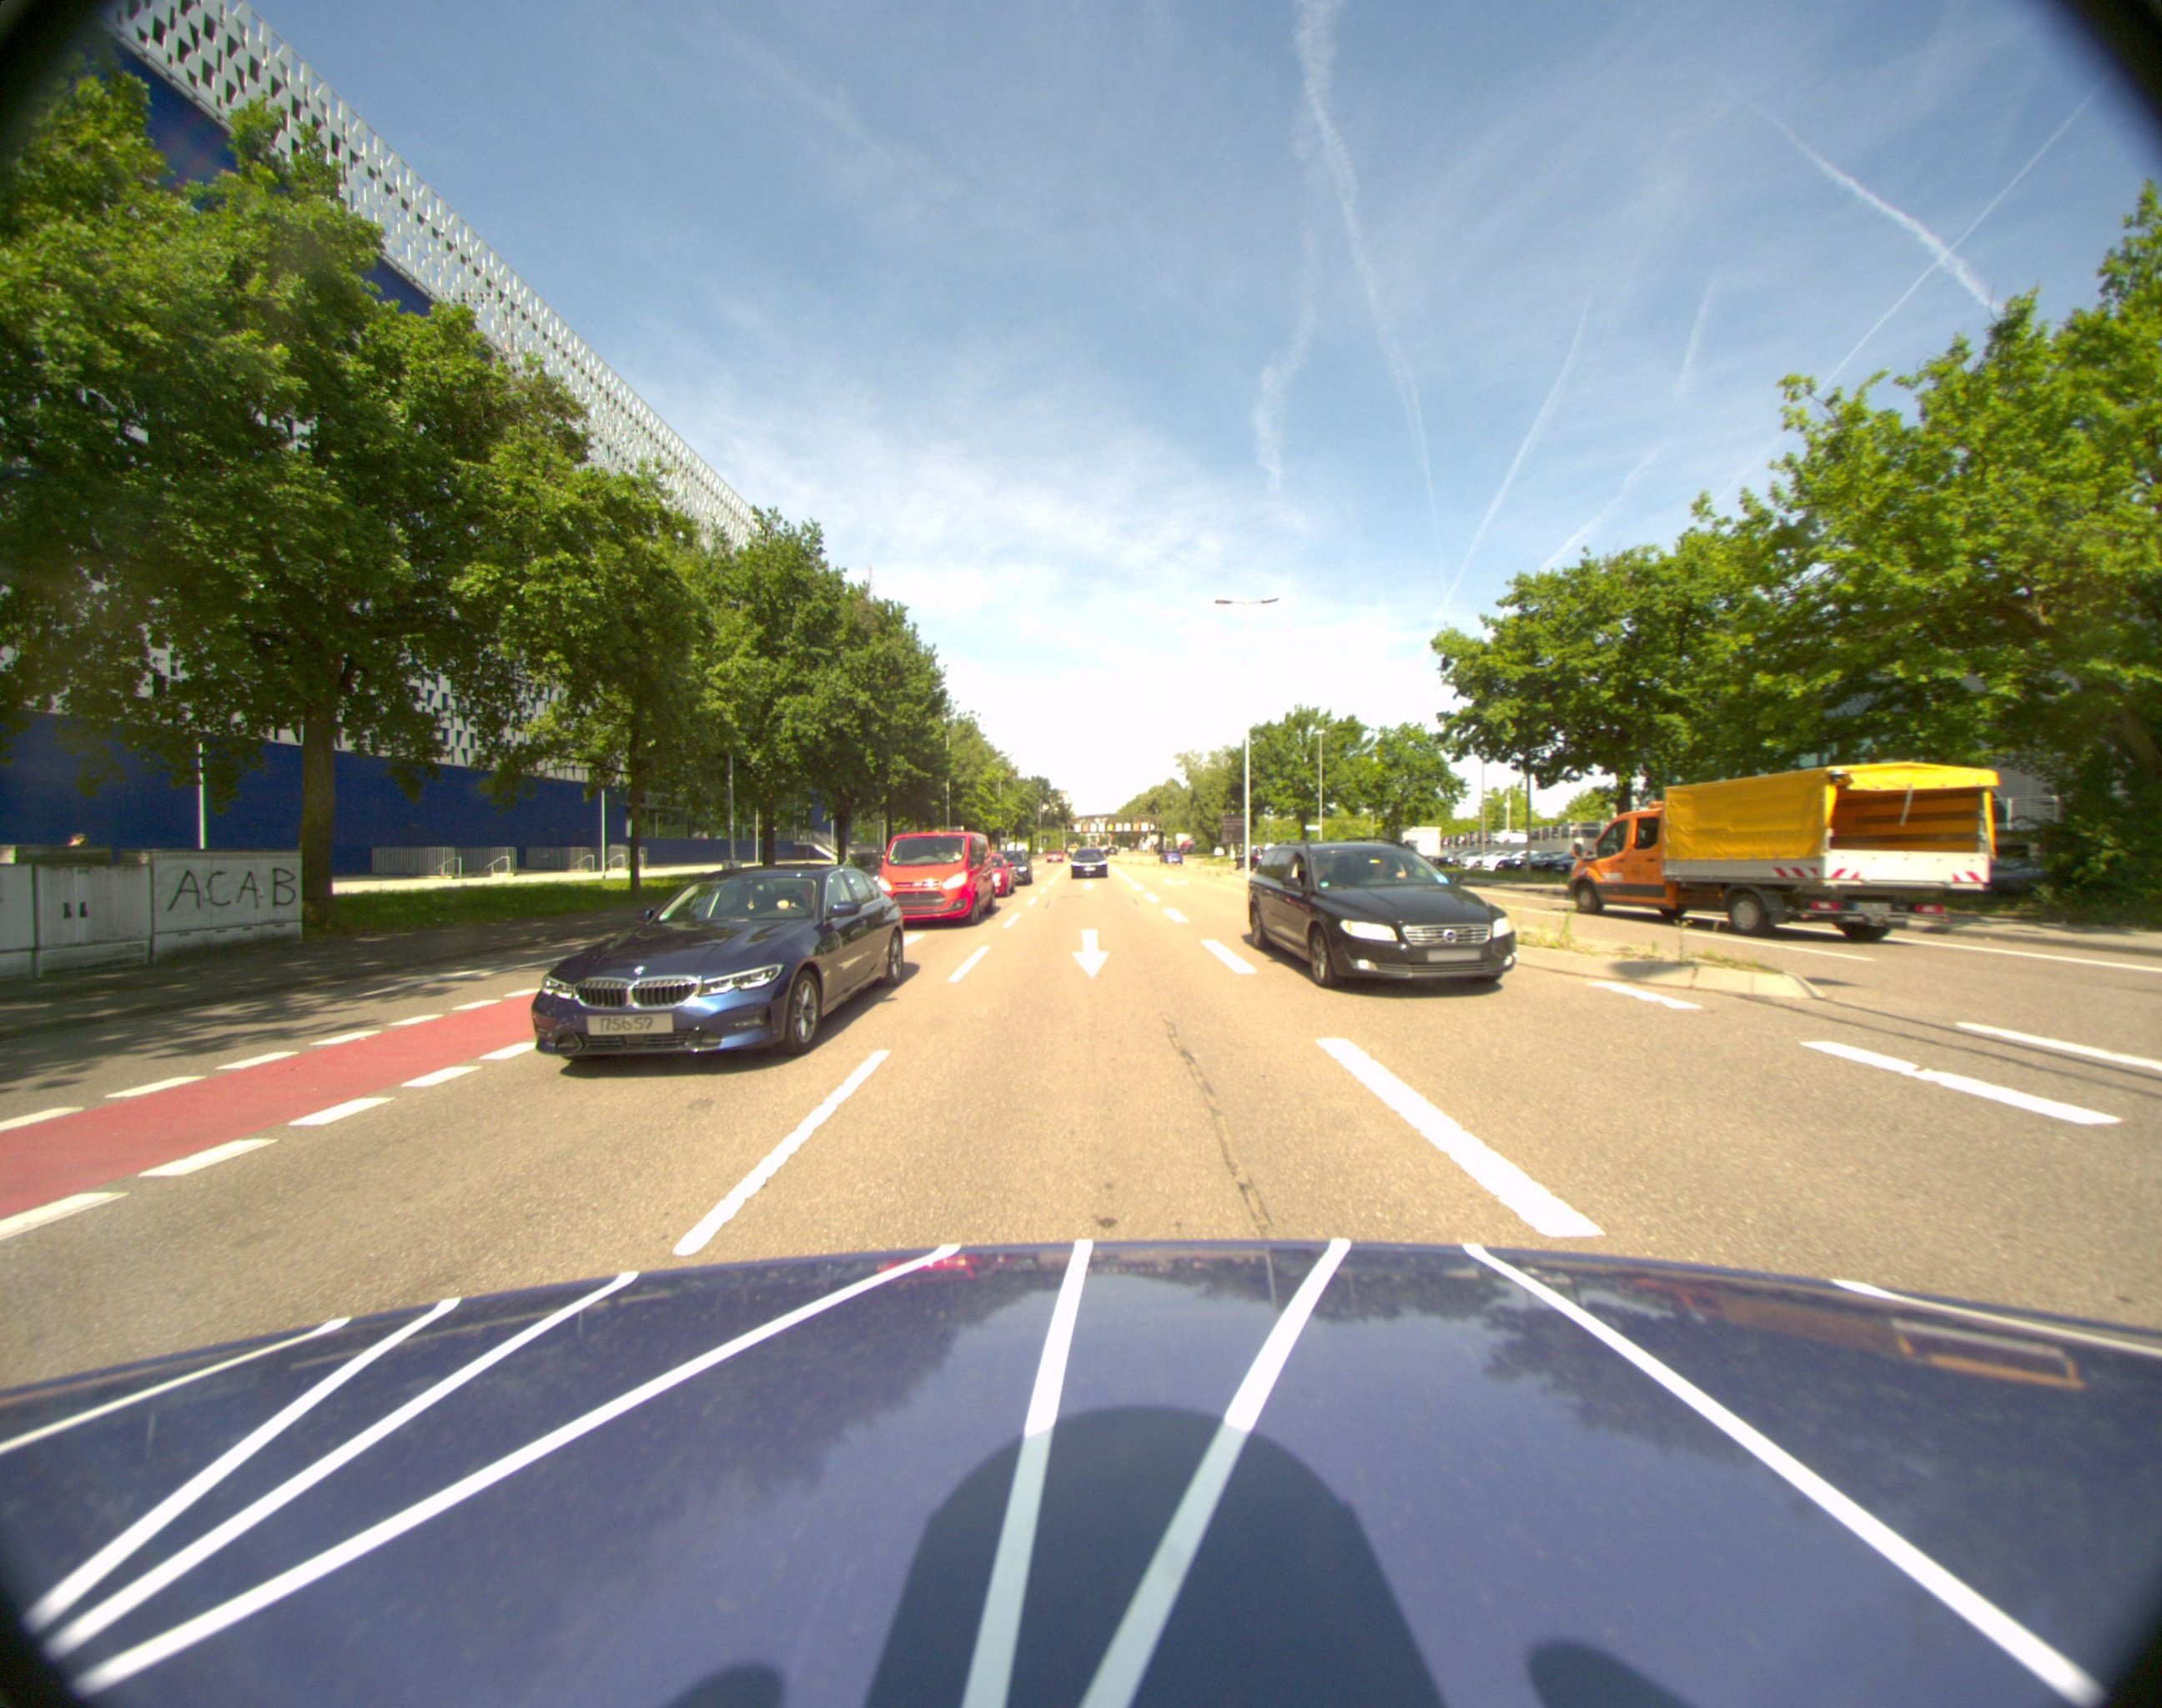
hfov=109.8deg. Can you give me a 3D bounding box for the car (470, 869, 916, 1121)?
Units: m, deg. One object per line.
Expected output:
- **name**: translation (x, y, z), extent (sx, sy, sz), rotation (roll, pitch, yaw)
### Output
- **car**: translation (-2.973, 0.952, 7.131), extent (1.800, 1.421, 4.537), rotation (-2, 1, 0)

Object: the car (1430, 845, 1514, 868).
- **car**: translation (24.045, 0.137, 46.810), extent (4.196, 1.239, 1.690), rotation (3, 1, 2)

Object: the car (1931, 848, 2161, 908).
- **car**: translation (23.484, 0.560, 18.153), extent (4.196, 1.220, 1.797), rotation (3, 1, 2)

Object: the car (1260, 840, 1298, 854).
- **car**: translation (24.211, -0.821, 93.181), extent (4.196, 1.491, 1.690), rotation (3, 1, 2)

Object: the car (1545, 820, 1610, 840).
- **car**: translation (40.849, -1.971, 62.580), extent (4.196, 1.491, 1.690), rotation (3, 1, 2)

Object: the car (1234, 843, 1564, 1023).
- **car**: translation (3.268, 0.665, 9.067), extent (1.882, 1.513, 4.868), rotation (-2, 1, 0)

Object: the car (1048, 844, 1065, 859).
- **car**: translation (-2.663, -0.332, 83.457), extent (1.649, 1.531, 3.999), rotation (-3, 1, -1)

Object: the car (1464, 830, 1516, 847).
- **car**: translation (40.598, -1.567, 75.505), extent (4.196, 1.491, 1.690), rotation (3, 1, 2)

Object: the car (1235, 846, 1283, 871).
- **car**: translation (11.310, 0.239, 48.550), extent (1.851, 1.451, 4.663), rotation (2, 1, -1)

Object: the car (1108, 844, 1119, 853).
- **car**: translation (5.683, -0.979, 131.754), extent (1.866, 1.503, 4.000), rotation (0, 1, 1)

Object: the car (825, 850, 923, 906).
- **car**: translation (-7.035, 0.746, 26.307), extent (1.998, 1.646, 4.390), rotation (-2, 1, 2)

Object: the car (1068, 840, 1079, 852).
- **car**: translation (-1.336, -1.544, 141.926), extent (1.998, 2.002, 3.999), rotation (-3, 2, 0)

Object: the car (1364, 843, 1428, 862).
- **car**: translation (24.411, -0.129, 58.910), extent (4.196, 1.315, 1.690), rotation (3, 1, 2)

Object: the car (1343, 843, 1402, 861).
- **car**: translation (24.408, -0.192, 63.670), extent (4.196, 1.315, 1.690), rotation (3, 1, 2)

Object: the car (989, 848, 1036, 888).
- **car**: translation (-2.922, 0.553, 33.258), extent (1.649, 1.531, 3.999), rotation (-3, 1, -1)

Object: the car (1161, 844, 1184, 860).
- **car**: translation (8.948, -0.208, 74.662), extent (1.732, 1.430, 3.869), rotation (2, 1, 0)

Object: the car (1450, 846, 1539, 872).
- **car**: translation (24.007, 0.287, 44.214), extent (4.196, 1.317, 1.690), rotation (3, 1, 2)

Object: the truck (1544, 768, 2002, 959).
- **truck**: translation (11.657, 0.095, 13.925), extent (2.381, 2.610, 6.673), rotation (2, 1, 2)

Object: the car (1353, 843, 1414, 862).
- **car**: translation (24.450, -0.151, 61.455), extent (4.196, 1.315, 1.690), rotation (3, 1, 2)

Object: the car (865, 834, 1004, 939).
- **car**: translation (-2.977, 0.575, 16.547), extent (2.014, 1.896, 4.809), rotation (-2, 1, 0)

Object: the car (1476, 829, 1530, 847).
- **car**: translation (40.585, -1.545, 73.171), extent (4.196, 1.491, 1.690), rotation (3, 1, 2)

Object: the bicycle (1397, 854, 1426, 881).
- **bicycle**: translation (14.651, 0.584, 33.714), extent (0.572, 1.143, 1.925), rotation (0, 1, 4)

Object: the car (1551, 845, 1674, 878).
- **car**: translation (23.555, 0.306, 33.791), extent (4.196, 1.247, 1.690), rotation (3, 1, 2)

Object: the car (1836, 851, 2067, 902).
- **car**: translation (23.579, 0.578, 20.701), extent (4.196, 1.128, 1.695), rotation (3, 1, 2)

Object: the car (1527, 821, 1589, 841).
- **car**: translation (40.976, -1.984, 65.312), extent (4.196, 1.491, 1.690), rotation (3, 1, 2)

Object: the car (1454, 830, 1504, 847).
- **car**: translation (40.706, -1.562, 77.794), extent (4.196, 1.491, 1.690), rotation (3, 1, 2)

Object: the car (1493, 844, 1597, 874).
- **car**: translation (23.824, 0.231, 39.120), extent (4.196, 1.292, 1.690), rotation (3, 1, 2)

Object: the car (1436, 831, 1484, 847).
- **car**: translation (40.575, -1.588, 81.366), extent (4.196, 1.491, 1.690), rotation (3, 1, 2)

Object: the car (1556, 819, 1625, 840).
- **car**: translation (40.157, -1.942, 59.961), extent (4.196, 1.397, 1.690), rotation (3, 1, 2)

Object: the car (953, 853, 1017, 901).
- **car**: translation (-3.147, 0.703, 25.578), extent (1.692, 1.414, 3.915), rotation (-1, 1, -1)

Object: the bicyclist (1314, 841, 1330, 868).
- **bicyclist**: translation (14.589, 0.042, 46.003), extent (0.578, 1.587, 0.910), rotation (1, 1, -3)

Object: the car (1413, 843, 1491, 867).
- **car**: translation (24.021, 0.060, 49.278), extent (4.196, 1.315, 1.690), rotation (3, 1, 2)

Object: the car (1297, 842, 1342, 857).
- **car**: translation (25.081, -0.471, 79.903), extent (4.196, 1.315, 1.690), rotation (3, 1, 2)

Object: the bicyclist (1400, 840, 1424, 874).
- **bicyclist**: translation (14.642, 0.119, 33.627), extent (0.571, 1.474, 1.143), rotation (0, 1, 3)

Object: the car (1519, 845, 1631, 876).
- **car**: translation (23.667, 0.285, 36.486), extent (4.196, 1.252, 1.690), rotation (3, 1, 2)

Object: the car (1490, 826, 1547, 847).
- **car**: translation (40.556, -1.650, 70.510), extent (4.196, 1.722, 1.690), rotation (3, 1, 2)

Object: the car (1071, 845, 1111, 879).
- **car**: translation (0.488, 0.369, 39.110), extent (1.847, 1.531, 3.999), rotation (-3, 1, 0)

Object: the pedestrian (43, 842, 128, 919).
- **pedestrian**: translation (-20.503, 0.529, 15.672), extent (0.680, 1.537, 0.780), rotation (0, 1, 1)

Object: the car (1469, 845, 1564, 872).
- **car**: translation (23.905, 0.231, 41.808), extent (4.196, 1.248, 1.690), rotation (3, 1, 2)

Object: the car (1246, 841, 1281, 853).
- **car**: translation (24.224, -0.969, 100.965), extent (4.196, 1.371, 1.690), rotation (3, 1, 2)
